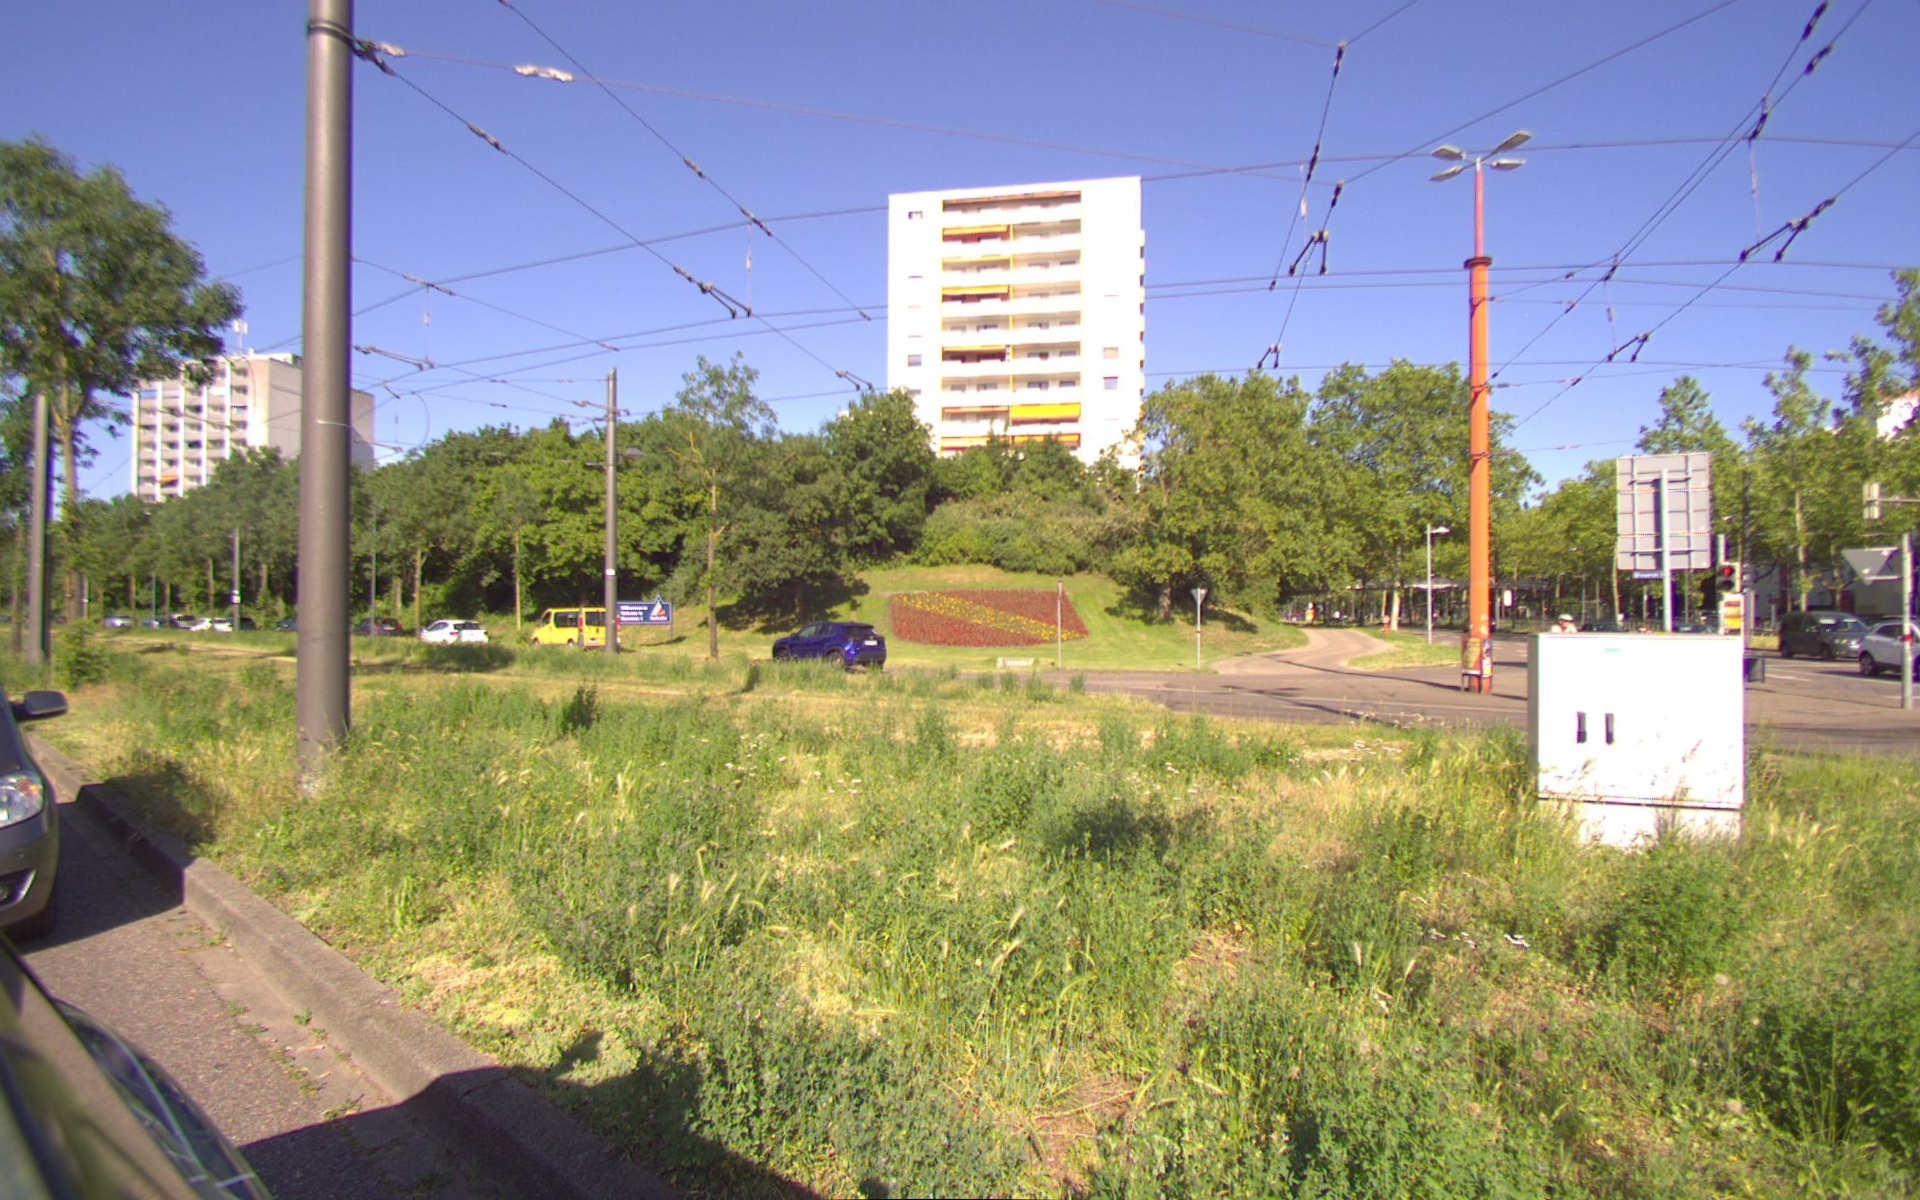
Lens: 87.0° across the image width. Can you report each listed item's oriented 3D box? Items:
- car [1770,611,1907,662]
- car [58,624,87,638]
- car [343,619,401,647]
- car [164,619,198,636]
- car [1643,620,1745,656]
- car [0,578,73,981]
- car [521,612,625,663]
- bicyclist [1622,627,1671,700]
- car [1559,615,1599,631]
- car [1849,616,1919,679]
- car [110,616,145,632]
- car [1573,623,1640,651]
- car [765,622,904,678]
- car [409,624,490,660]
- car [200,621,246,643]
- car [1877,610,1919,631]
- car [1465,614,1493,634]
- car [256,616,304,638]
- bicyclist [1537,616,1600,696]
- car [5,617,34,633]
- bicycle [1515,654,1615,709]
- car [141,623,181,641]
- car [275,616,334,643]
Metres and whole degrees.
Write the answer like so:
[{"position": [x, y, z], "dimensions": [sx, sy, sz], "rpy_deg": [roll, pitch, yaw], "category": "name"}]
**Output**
[{"position": [31.972, 1.308, 37.012], "dimensions": [1.832, 1.721, 4.292], "rpy_deg": [0, -1, 11], "category": "car"}, {"position": [-95.924, 3.322, 109.367], "dimensions": [3.998, 1.475, 1.779], "rpy_deg": [-1, -2, 41], "category": "car"}, {"position": [-33.636, 1.862, 57.865], "dimensions": [4.242, 1.519, 1.768], "rpy_deg": [-2, -2, 44], "category": "car"}, {"position": [-65.720, 2.340, 85.326], "dimensions": [4.001, 1.386, 1.717], "rpy_deg": [-1, -2, 44], "category": "car"}, {"position": [29.734, 1.507, 41.156], "dimensions": [1.748, 1.360, 4.345], "rpy_deg": [0, -1, 13], "category": "car"}, {"position": [-5.781, 0.751, 4.896], "dimensions": [3.879, 1.634, 1.737], "rpy_deg": [-1, -2, 41], "category": "car"}, {"position": [-16.157, 1.576, 42.155], "dimensions": [4.905, 1.981, 1.972], "rpy_deg": [-2, -4, 42], "category": "car"}, {"position": [13.395, 1.225, 19.758], "dimensions": [0.435, 1.391, 0.631], "rpy_deg": [0, -2, -20], "category": "bicyclist"}, {"position": [79.749, 3.011, 130.481], "dimensions": [3.969, 2.029, 1.987], "rpy_deg": [-1, -1, 20], "category": "car"}, {"position": [26.342, 1.256, 27.162], "dimensions": [1.810, 1.648, 4.237], "rpy_deg": [0, -1, 12], "category": "car"}, {"position": [-79.366, 2.289, 96.463], "dimensions": [3.998, 1.497, 1.972], "rpy_deg": [-1, -2, 41], "category": "car"}, {"position": [33.191, 1.879, 52.073], "dimensions": [1.750, 1.360, 4.338], "rpy_deg": [-1, -1, 17], "category": "car"}, {"position": [-3.857, 1.472, 30.799], "dimensions": [4.105, 1.586, 1.973], "rpy_deg": [-1, -2, 41], "category": "car"}, {"position": [-21.522, 1.753, 42.598], "dimensions": [4.020, 1.418, 1.671], "rpy_deg": [-2, -1, 42], "category": "car"}, {"position": [-49.921, 2.152, 68.527], "dimensions": [4.000, 1.429, 1.842], "rpy_deg": [-1, -2, 43], "category": "car"}, {"position": [64.900, 1.407, 68.400], "dimensions": [1.770, 1.420, 4.010], "rpy_deg": [1, -1, -36], "category": "car"}, {"position": [45.122, 2.083, 88.009], "dimensions": [1.840, 1.721, 4.272], "rpy_deg": [-1, -2, 24], "category": "car"}, {"position": [-46.397, 1.819, 69.044], "dimensions": [3.999, 1.429, 1.843], "rpy_deg": [-1, -1, 42], "category": "car"}, {"position": [12.134, 1.096, 20.205], "dimensions": [0.719, 1.557, 0.770], "rpy_deg": [0, -2, -20], "category": "bicyclist"}, {"position": [-102.717, 2.736, 110.525], "dimensions": [3.998, 1.779, 1.858], "rpy_deg": [-1, -2, 41], "category": "car"}, {"position": [12.085, 1.610, 20.269], "dimensions": [0.673, 0.968, 1.650], "rpy_deg": [0, -1, -20], "category": "bicycle"}, {"position": [-62.003, 2.487, 78.506], "dimensions": [4.229, 1.371, 1.801], "rpy_deg": [-1, -2, 43], "category": "car"}, {"position": [-35.961, 1.595, 55.464], "dimensions": [4.311, 1.427, 1.775], "rpy_deg": [-2, -1, 44], "category": "car"}]
